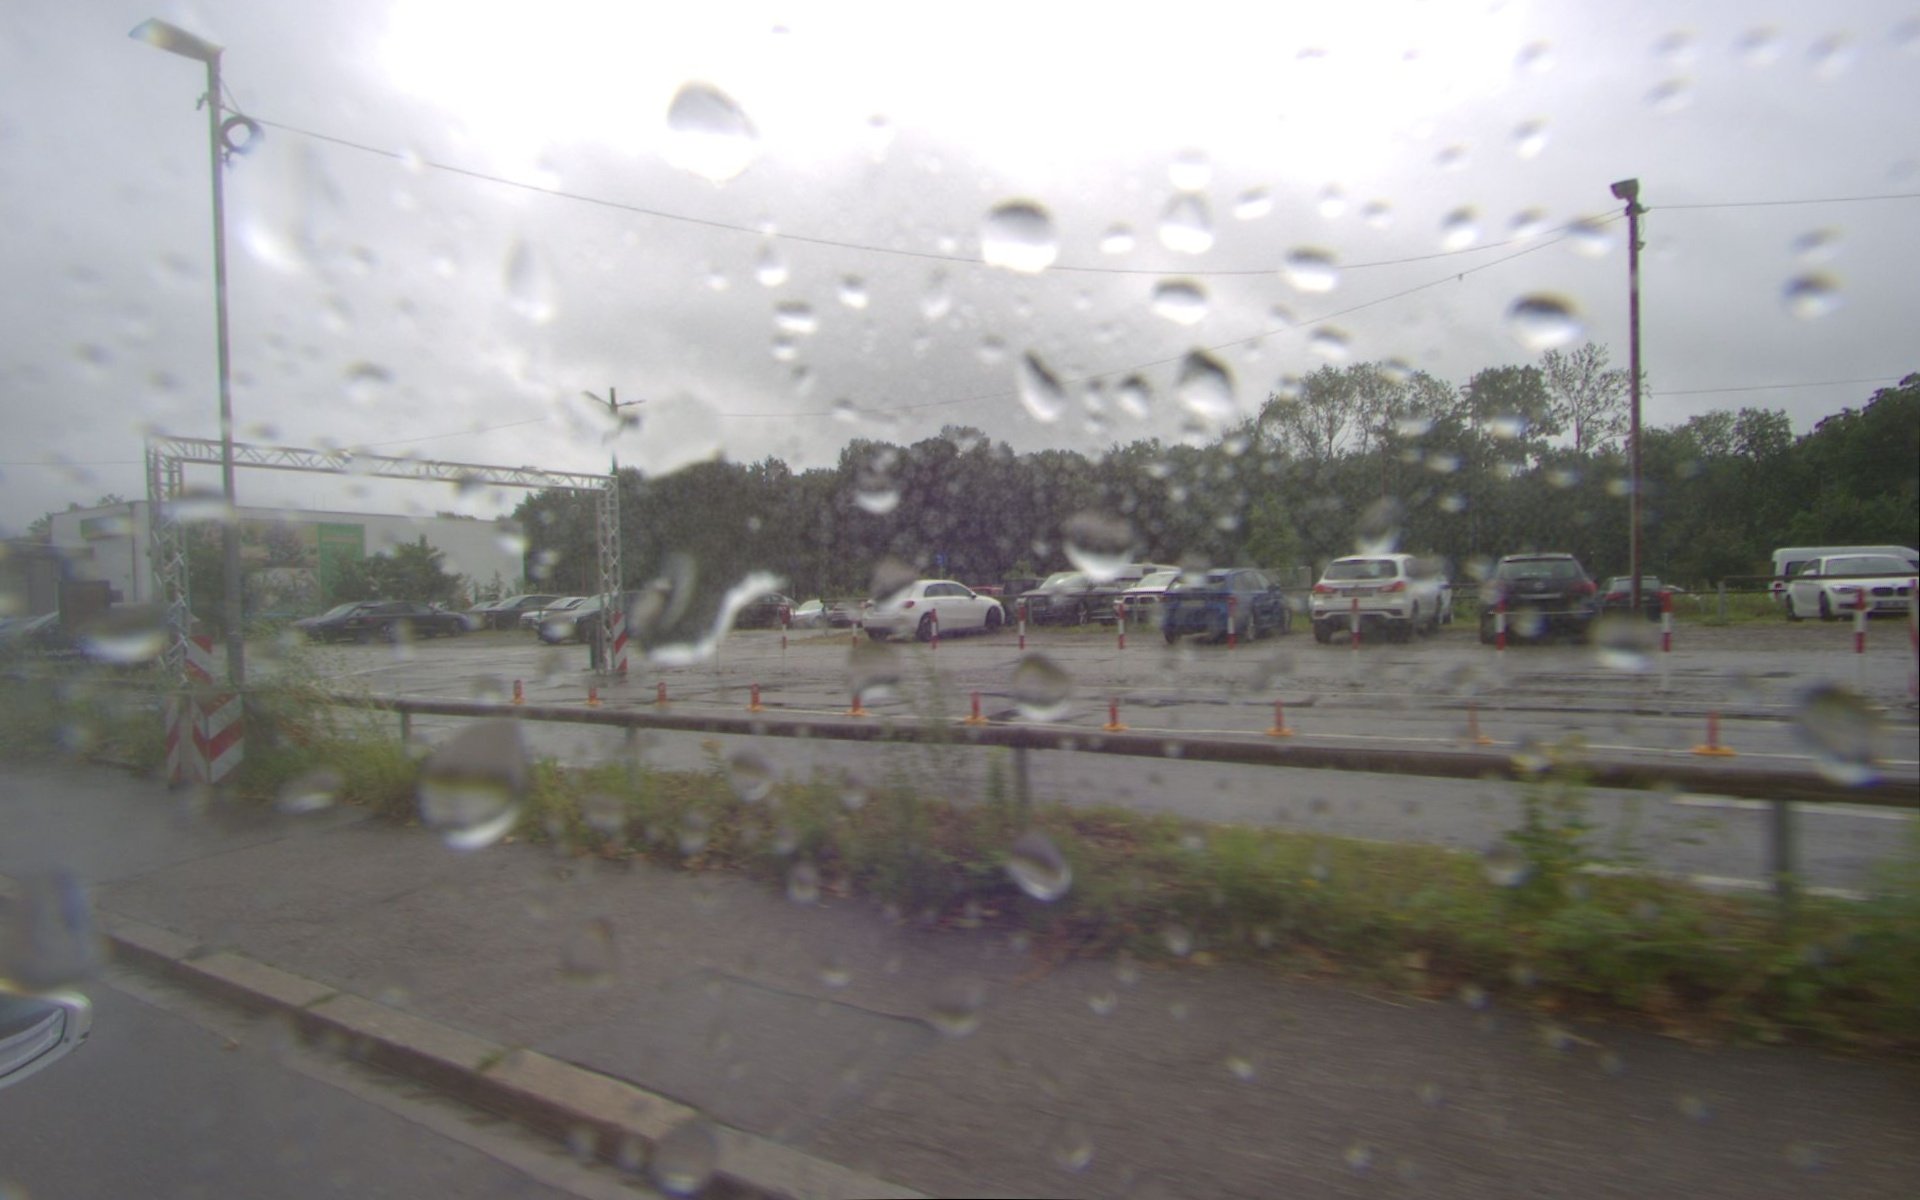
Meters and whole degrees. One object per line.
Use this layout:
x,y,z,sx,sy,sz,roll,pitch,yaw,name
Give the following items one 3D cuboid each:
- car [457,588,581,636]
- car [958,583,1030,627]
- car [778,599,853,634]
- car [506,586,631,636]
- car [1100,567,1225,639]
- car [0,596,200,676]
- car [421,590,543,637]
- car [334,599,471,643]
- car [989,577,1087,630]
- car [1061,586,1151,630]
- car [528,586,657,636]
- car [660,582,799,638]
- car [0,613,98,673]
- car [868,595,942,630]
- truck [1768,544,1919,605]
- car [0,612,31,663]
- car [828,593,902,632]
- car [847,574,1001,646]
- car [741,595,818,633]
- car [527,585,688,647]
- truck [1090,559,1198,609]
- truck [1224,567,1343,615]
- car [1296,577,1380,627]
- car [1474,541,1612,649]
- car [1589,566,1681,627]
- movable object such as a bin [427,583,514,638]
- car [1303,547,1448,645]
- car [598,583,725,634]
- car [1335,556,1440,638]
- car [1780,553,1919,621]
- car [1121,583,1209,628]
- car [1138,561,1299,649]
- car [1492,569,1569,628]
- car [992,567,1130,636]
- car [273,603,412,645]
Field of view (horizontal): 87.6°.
-18.678,0.493,42.576,2.013,1.695,4.432,-3,2,29,car
1.518,0.189,43.397,1.760,1.793,3.987,-1,1,23,car
-6.859,0.744,47.995,1.685,1.513,3.987,-1,1,23,car
-16.089,0.420,41.355,2.015,1.695,4.430,-2,2,31,car
5.520,0.048,26.878,1.900,1.627,4.048,-2,2,33,car
-22.404,0.887,25.289,2.101,1.758,4.663,-2,1,36,car
-20.923,0.569,44.032,2.013,1.695,4.432,-3,2,29,car
-20.610,0.749,37.153,1.972,1.505,3.977,-2,-1,33,car
3.269,0.084,41.119,1.992,2.025,4.772,-1,1,32,car
5.902,0.298,40.148,1.992,1.610,4.307,-1,1,32,car
-14.410,0.385,39.502,2.015,1.627,4.430,-2,2,31,car
-8.063,0.328,35.506,2.015,1.627,4.690,-2,2,31,car
-25.836,1.164,26.470,1.794,1.536,4.286,-2,-1,32,car
-2.437,0.542,45.516,1.760,1.419,3.987,-1,1,23,car
32.246,-0.900,35.654,5.206,2.041,2.075,-1,2,34,truck
-30.759,1.191,29.819,1.864,1.529,4.172,-2,-1,32,car
-4.369,0.573,46.633,1.760,1.658,3.987,-1,1,23,car
-0.831,0.223,25.272,1.902,1.504,3.815,-2,2,35,car
-8.912,0.676,49.728,1.866,1.751,3.987,-1,1,23,car
-10.798,0.483,31.062,1.987,1.738,4.617,-2,-1,26,car
9.447,-0.800,51.497,5.011,2.434,2.067,-1,2,32,truck
15.345,-0.415,47.639,5.019,2.167,2.064,-1,2,37,truck
13.215,0.045,34.890,1.992,1.610,4.308,-1,1,31,car
10.298,-0.140,17.551,1.763,1.605,3.761,-2,2,35,car
20.648,-0.139,30.794,1.991,1.744,4.311,-1,1,29,car
-27.907,0.567,57.165,1.971,3.033,3.979,0,1,31,movable object such as a bin
8.113,-0.131,19.340,1.763,1.605,3.889,-2,2,35,car
-11.509,0.290,38.863,2.015,1.627,4.430,-2,2,31,car
10.333,-0.129,24.036,1.805,1.682,4.051,-2,2,30,car
17.677,-0.299,19.633,1.805,1.086,4.051,-3,2,30,car
8.064,0.192,39.140,1.992,1.610,4.307,-1,1,32,car
5.448,0.050,20.730,1.902,1.504,4.030,-2,2,35,car
18.202,-0.092,32.030,1.991,1.744,4.311,-1,1,29,car
2.956,-0.005,28.232,1.900,1.627,4.688,-2,2,33,car
-23.152,0.865,37.645,1.972,1.427,3.977,-2,-1,33,car
